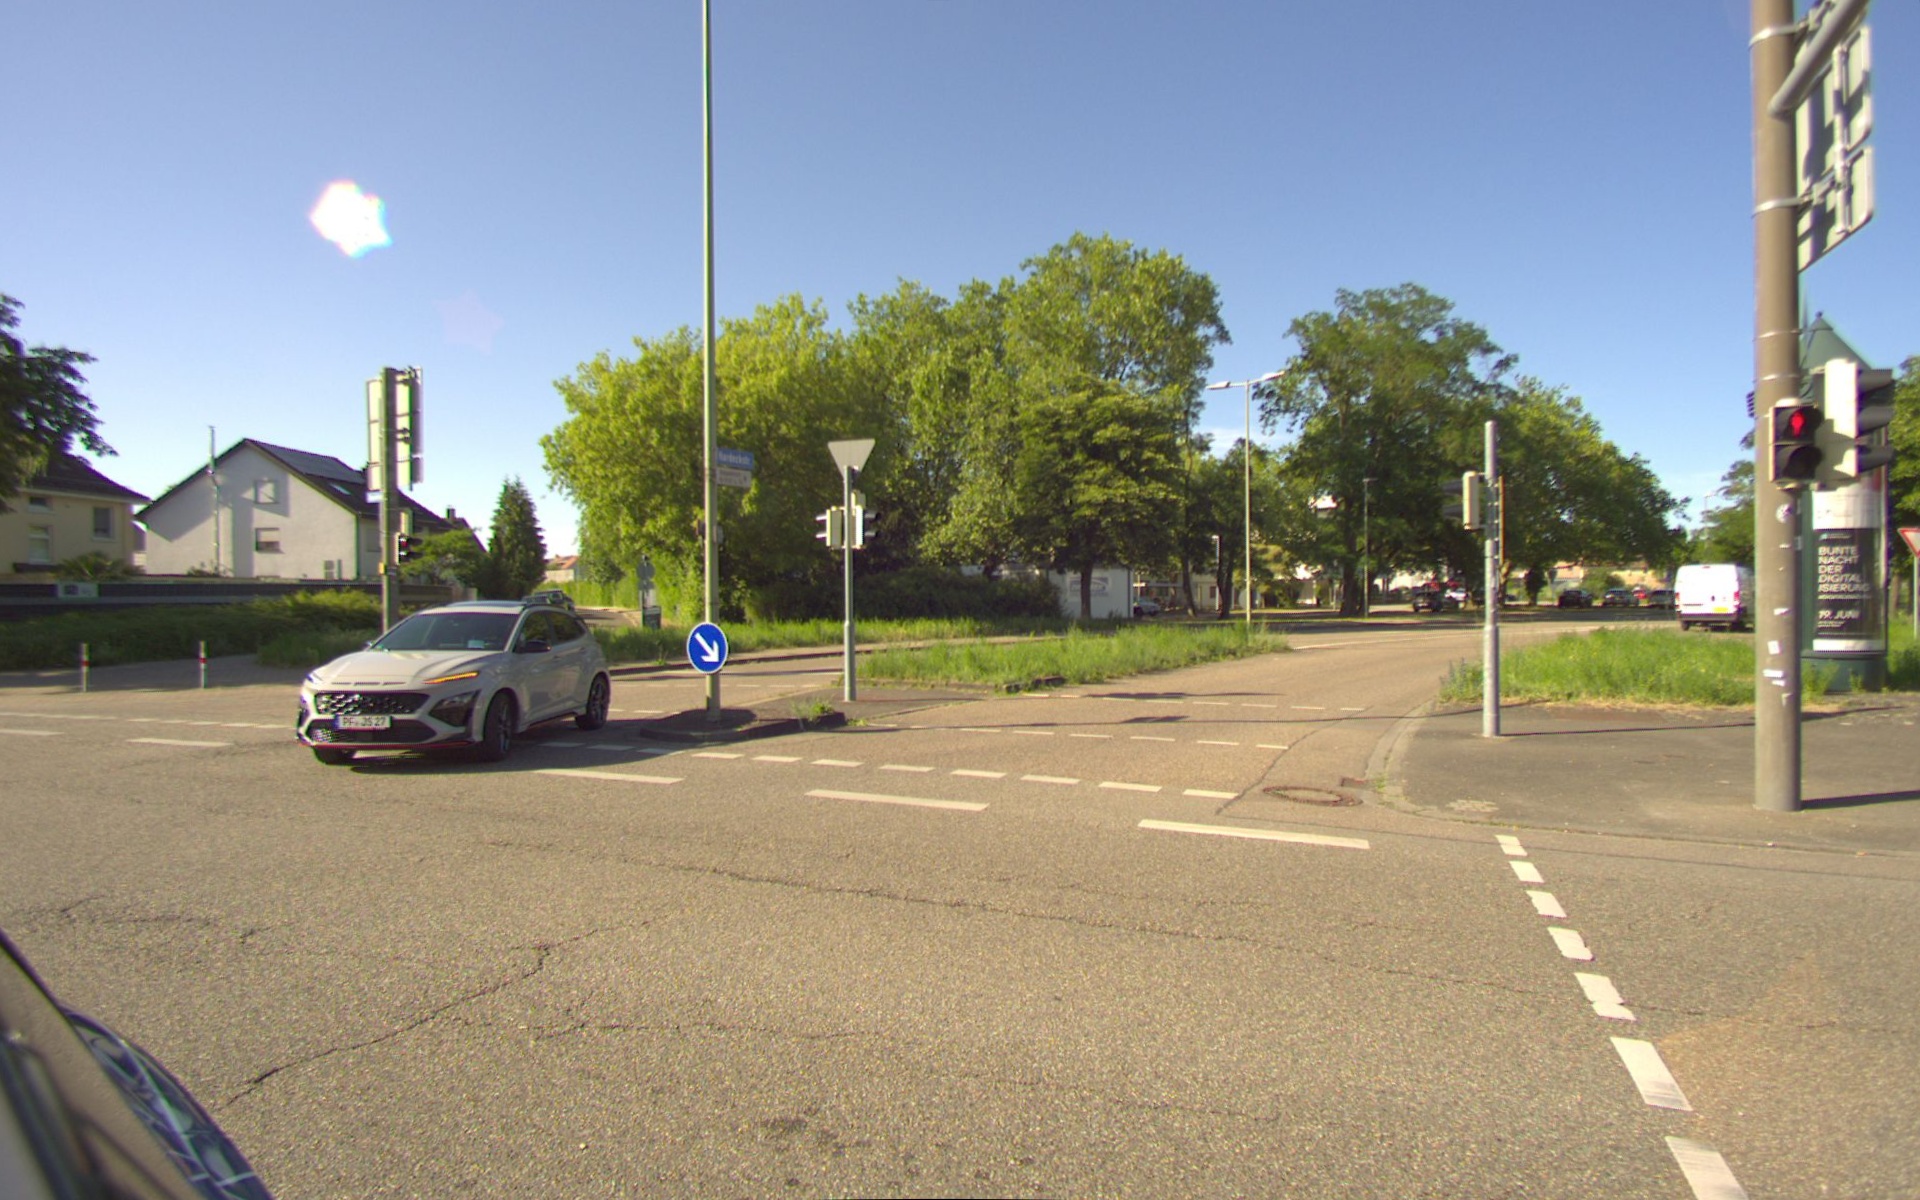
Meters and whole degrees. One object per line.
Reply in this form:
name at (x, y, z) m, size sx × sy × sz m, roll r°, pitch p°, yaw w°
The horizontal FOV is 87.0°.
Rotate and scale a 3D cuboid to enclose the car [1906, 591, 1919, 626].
car at (43.626, 0.348, 43.621) m, size 1.899 × 1.541 × 4.005 m, roll 0°, pitch 0°, yaw -42°
